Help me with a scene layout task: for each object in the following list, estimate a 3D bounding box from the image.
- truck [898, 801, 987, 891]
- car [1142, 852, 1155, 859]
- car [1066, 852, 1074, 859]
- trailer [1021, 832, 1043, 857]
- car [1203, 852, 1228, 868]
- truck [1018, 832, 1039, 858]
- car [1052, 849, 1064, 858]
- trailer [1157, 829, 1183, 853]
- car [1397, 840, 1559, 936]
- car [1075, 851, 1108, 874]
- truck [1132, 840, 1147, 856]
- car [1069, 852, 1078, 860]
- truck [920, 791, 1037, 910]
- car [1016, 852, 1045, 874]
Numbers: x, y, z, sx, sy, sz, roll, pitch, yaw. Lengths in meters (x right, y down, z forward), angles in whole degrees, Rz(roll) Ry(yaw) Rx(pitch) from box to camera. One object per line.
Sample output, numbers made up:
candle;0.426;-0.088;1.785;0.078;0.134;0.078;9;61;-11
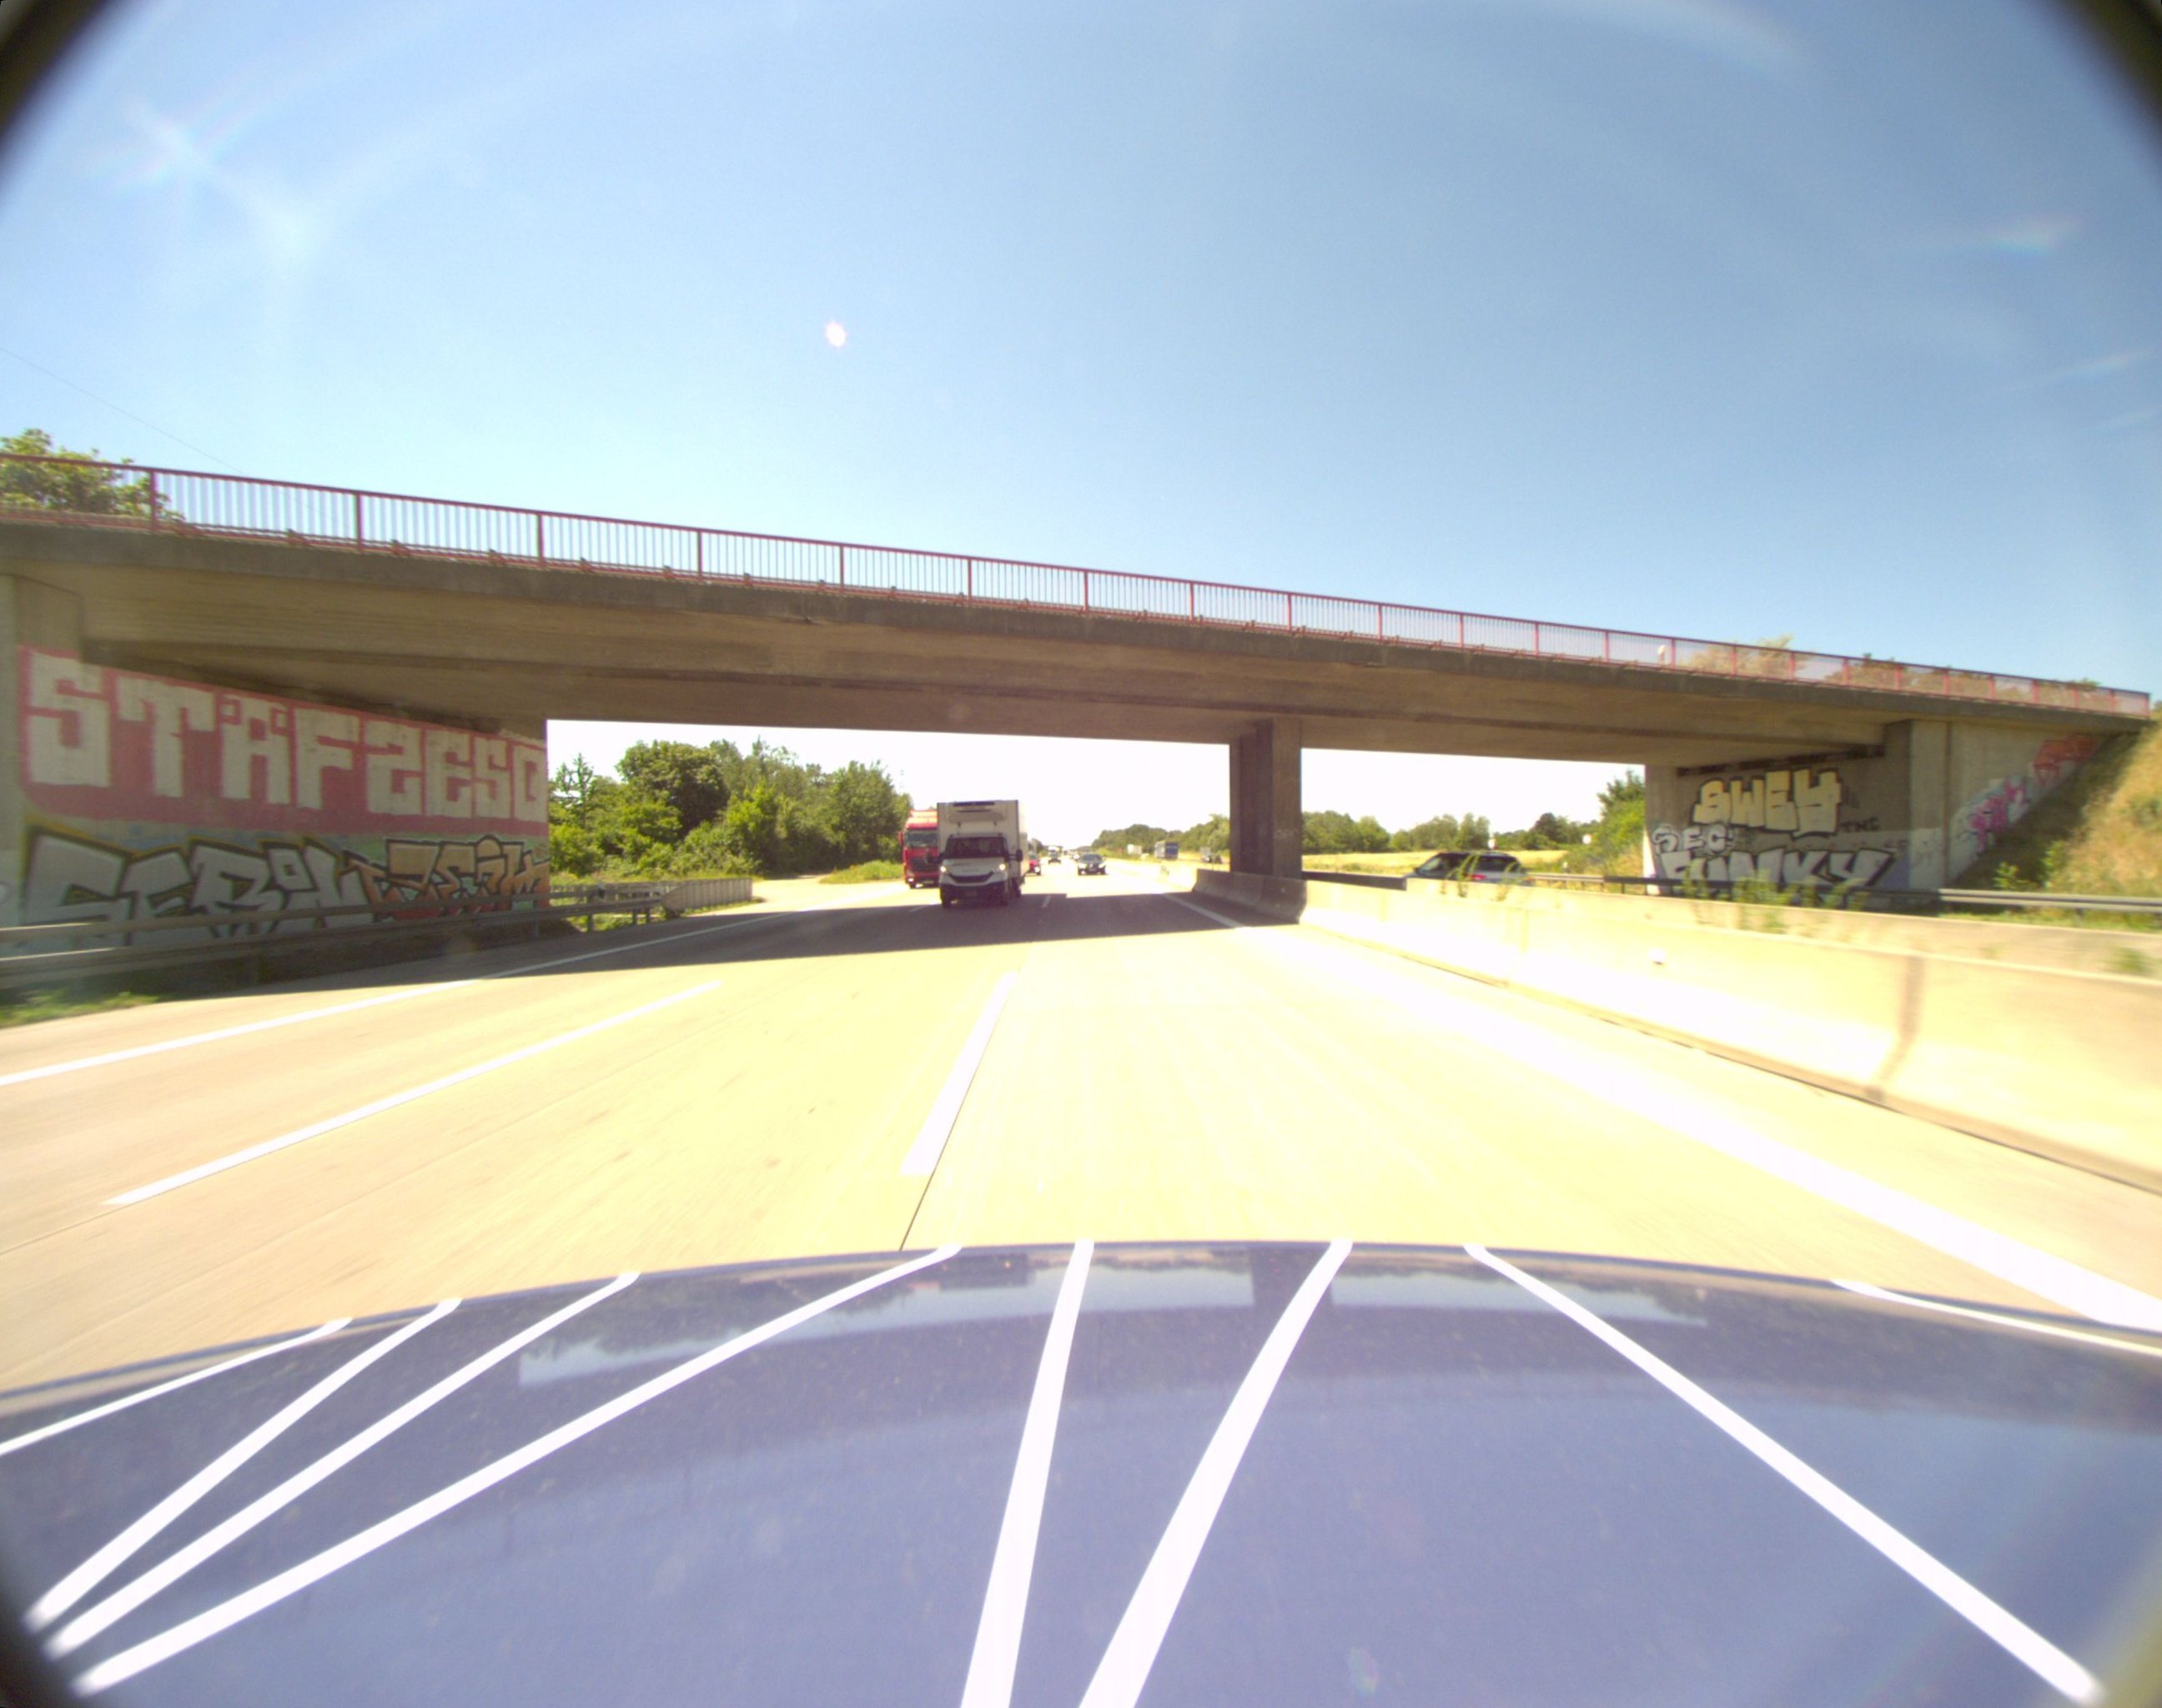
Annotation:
truck;-7.435;-0.439;42.464;2.856;4.298;10.884;-2;1;0
car;12.901;0.238;145.634;1.819;1.401;4.670;-1;0;-1
car;-2.570;0.304;177.379;1.683;1.445;3.563;-2;1;1
trailer;-7.346;-1.365;114.191;2.457;3.533;9.717;-2;1;0
car;13.764;0.602;78.105;1.771;1.609;3.861;-1;0;-1
truck;-7.425;-1.300;108.064;2.457;3.533;6.456;-2;1;0
car;-3.346;-0.114;110.214;1.545;1.098;3.054;-2;1;0
trailer;17.291;-2.511;149.008;3.273;4.354;13.499;-2;1;0
car;9.437;0.718;18.475;1.843;2.002;4.000;-2;1;1
car;0.661;0.552;52.329;1.999;1.462;6.346;0;0;-2
truck;16.498;-1.723;216.565;3.259;4.354;10.535;-2;1;0
car;-1.391;0.403;146.055;1.558;1.440;3.776;-2;1;1
truck;-3.157;-0.139;25.737;2.784;3.328;7.812;-2;1;0
car;-3.522;0.615;53.501;1.671;1.439;4.000;-2;0;0
